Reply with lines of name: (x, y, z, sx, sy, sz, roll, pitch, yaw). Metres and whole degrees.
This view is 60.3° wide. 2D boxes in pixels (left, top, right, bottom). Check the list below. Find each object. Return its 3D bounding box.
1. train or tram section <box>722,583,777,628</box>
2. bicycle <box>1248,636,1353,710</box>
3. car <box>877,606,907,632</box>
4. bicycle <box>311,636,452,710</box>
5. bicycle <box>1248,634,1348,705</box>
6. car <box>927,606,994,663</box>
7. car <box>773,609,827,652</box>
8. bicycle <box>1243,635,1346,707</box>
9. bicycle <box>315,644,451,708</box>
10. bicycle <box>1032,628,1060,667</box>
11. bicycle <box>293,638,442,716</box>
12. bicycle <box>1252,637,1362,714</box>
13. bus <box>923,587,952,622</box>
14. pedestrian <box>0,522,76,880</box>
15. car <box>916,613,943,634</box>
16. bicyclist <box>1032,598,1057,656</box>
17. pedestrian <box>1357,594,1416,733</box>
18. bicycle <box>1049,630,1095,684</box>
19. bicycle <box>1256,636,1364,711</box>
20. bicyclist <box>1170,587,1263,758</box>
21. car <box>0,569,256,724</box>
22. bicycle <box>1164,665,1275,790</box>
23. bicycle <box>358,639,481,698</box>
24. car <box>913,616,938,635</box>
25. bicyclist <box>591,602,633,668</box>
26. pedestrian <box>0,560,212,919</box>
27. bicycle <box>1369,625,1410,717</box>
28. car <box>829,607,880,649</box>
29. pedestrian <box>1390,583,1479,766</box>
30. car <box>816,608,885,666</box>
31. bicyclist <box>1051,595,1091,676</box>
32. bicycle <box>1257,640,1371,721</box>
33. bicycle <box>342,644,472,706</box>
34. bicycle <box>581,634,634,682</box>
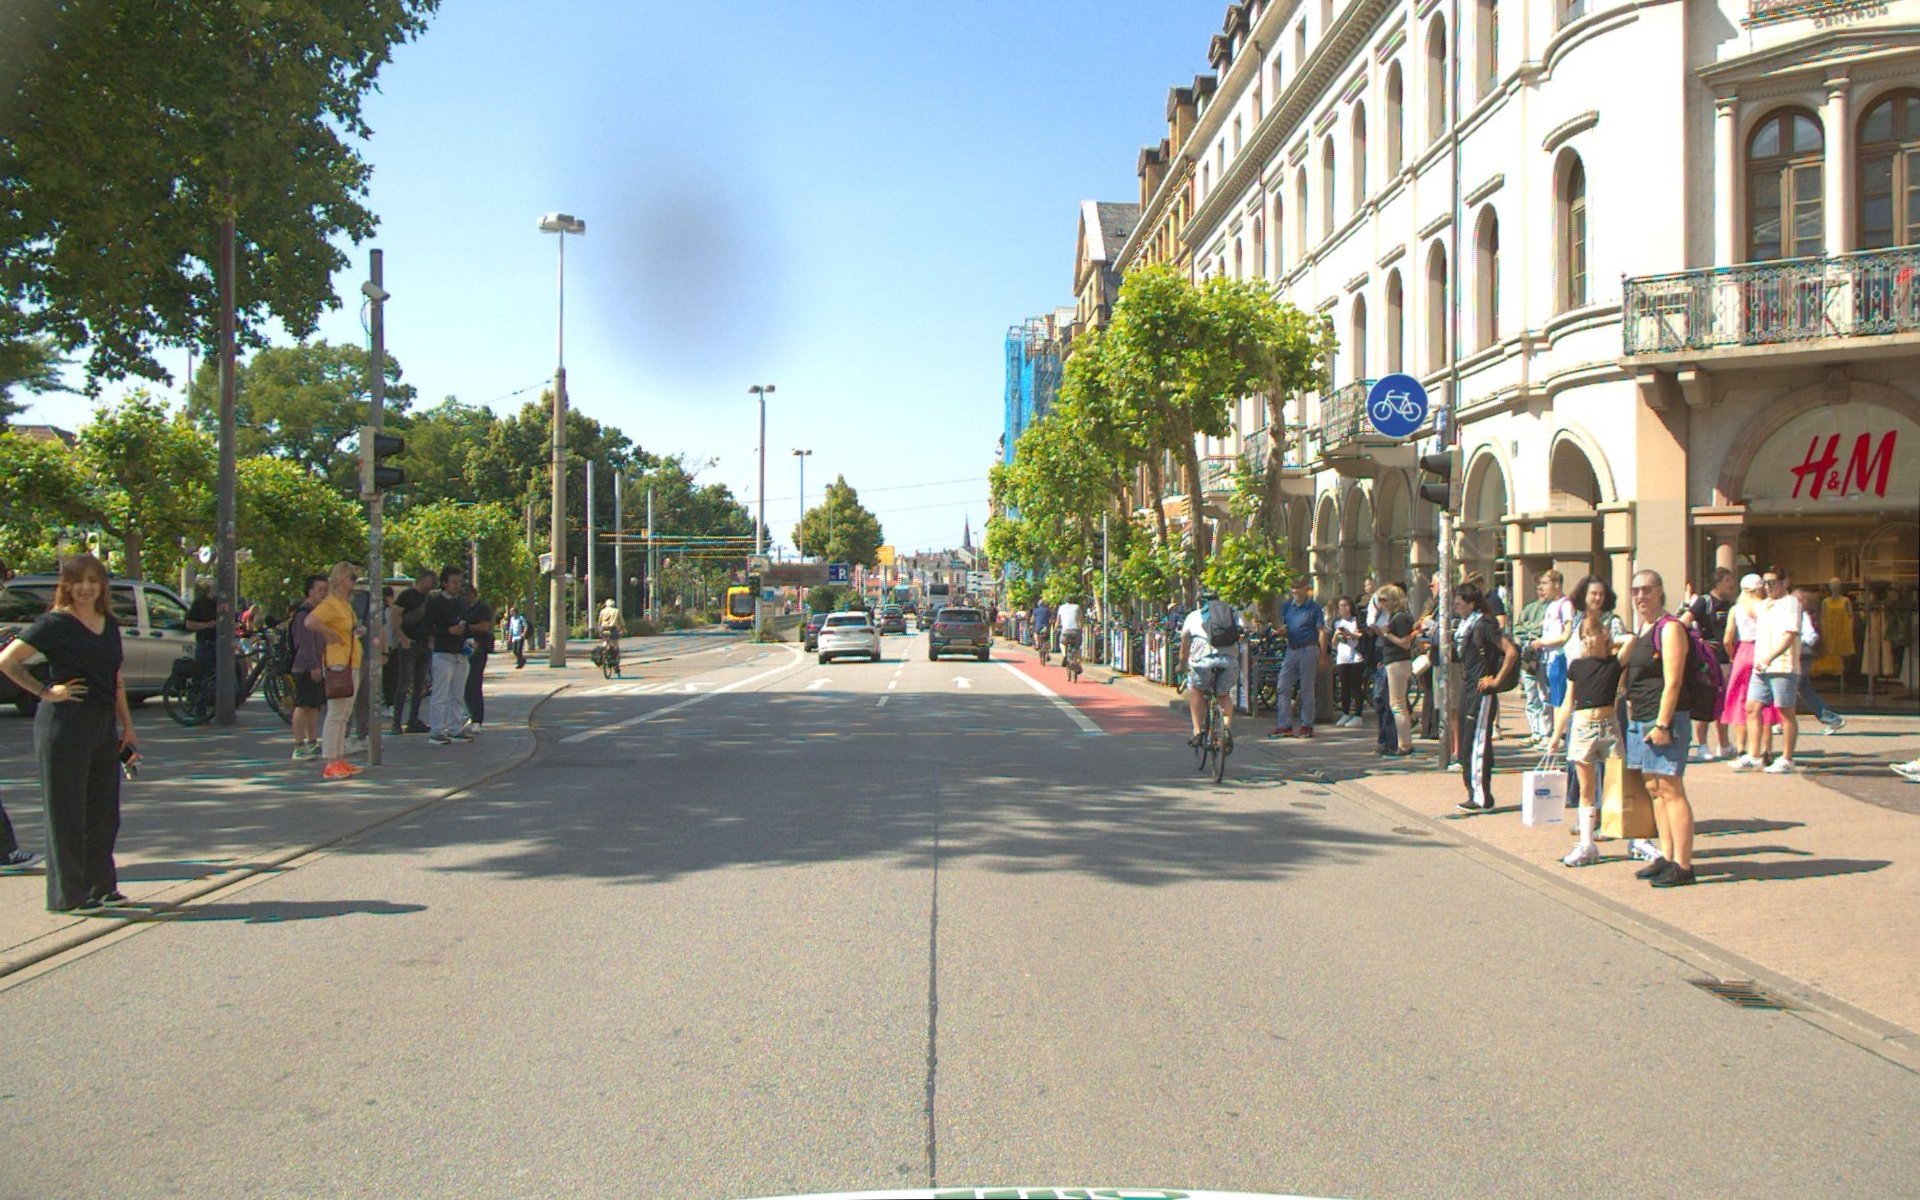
train or tram section: (-16.684, 0.430, 131.893, 2.558, 3.407, 11.005, 0, 0, 2)
bicycle: (4.832, 1.034, 23.512, 1.391, 0.997, 0.445, -1, 0, -1)
car: (-4.182, 1.174, 102.234, 1.808, 1.587, 3.998, 0, 0, -2)
bicycle: (-9.204, 1.151, 26.378, 2.046, 1.109, 0.682, -1, -1, -13)
bicycle: (4.989, 1.026, 24.444, 1.391, 0.997, 0.401, -1, 0, -1)
car: (-0.028, 0.997, 49.307, 1.808, 1.587, 3.998, 1, 0, -2)
car: (-6.078, 1.144, 63.213, 1.808, 1.587, 3.998, 0, -1, -2)
bicycle: (4.844, 1.026, 24.005, 1.391, 0.997, 0.445, -1, 0, -1)
bicycle: (-9.521, 1.246, 27.373, 2.046, 0.997, 0.682, -1, -1, -13)
bicycle: (2.354, 1.304, 45.508, 0.634, 1.015, 2.030, 0, 0, -1)
bicycle: (-8.948, 1.151, 25.056, 2.046, 1.109, 0.682, -1, -1, -13)
bicycle: (4.734, 1.022, 22.594, 1.391, 0.997, 0.445, -1, 0, -1)
bus: (-2.477, 0.545, 176.637, 2.934, 3.657, 11.739, 0, -1, -2)
pedestrian: (-5.324, 0.537, 8.967, 0.619, 1.891, 0.687, 0, -1, 20)
car: (-2.112, 1.603, 114.325, 1.808, 1.438, 3.998, 0, 0, -2)
bicyclist: (2.329, 0.742, 45.602, 0.634, 1.578, 0.817, 0, 0, -2)
pedestrian: (5.085, 0.752, 19.712, 0.519, 1.623, 0.611, -3, -2, 25)
bicycle: (2.321, 1.172, 34.568, 0.758, 1.023, 2.329, 0, 0, -1)
bicycle: (4.874, 1.021, 23.058, 1.391, 0.997, 0.445, -1, 0, -1)
bicyclist: (2.354, 0.648, 15.297, 0.617, 1.507, 1.198, 1, -1, -2)
car: (-12.497, 0.625, 23.520, 1.820, 1.989, 4.762, 0, -1, 20)
bicycle: (2.351, 1.132, 15.202, 0.617, 0.997, 2.088, 1, -1, -2)
bicycle: (-9.712, 1.223, 29.783, 2.046, 0.997, 0.682, -1, -1, -13)
car: (-2.598, 1.915, 124.730, 1.808, 1.438, 3.998, 0, 0, -2)
bicyclist: (-8.140, 0.805, 38.726, 0.723, 1.529, 1.052, 0, 0, 3)
pedestrian: (-4.092, 0.634, 7.913, 0.619, 1.623, 0.687, 0, -1, 20)
bicycle: (5.729, 0.932, 22.027, 0.391, 1.133, 1.425, -1, 1, 19)
car: (-4.038, 1.069, 63.718, 1.808, 1.587, 3.998, 0, -1, -2)
pedestrian: (4.578, 0.705, 15.989, 0.571, 1.703, 0.605, -3, -1, -3)
car: (-3.184, 1.057, 48.806, 1.808, 1.587, 3.999, -1, 0, -1)
bicyclist: (2.316, 0.734, 34.551, 0.759, 1.664, 0.851, 0, 0, -1)
bicycle: (4.656, 1.054, 21.770, 1.391, 0.997, 0.445, -1, 0, -1)
bicycle: (-9.538, 1.284, 28.596, 2.046, 0.997, 0.682, -1, -1, -13)
bicycle: (-8.201, 1.339, 38.567, 0.662, 1.044, 1.969, 0, 0, 5)
